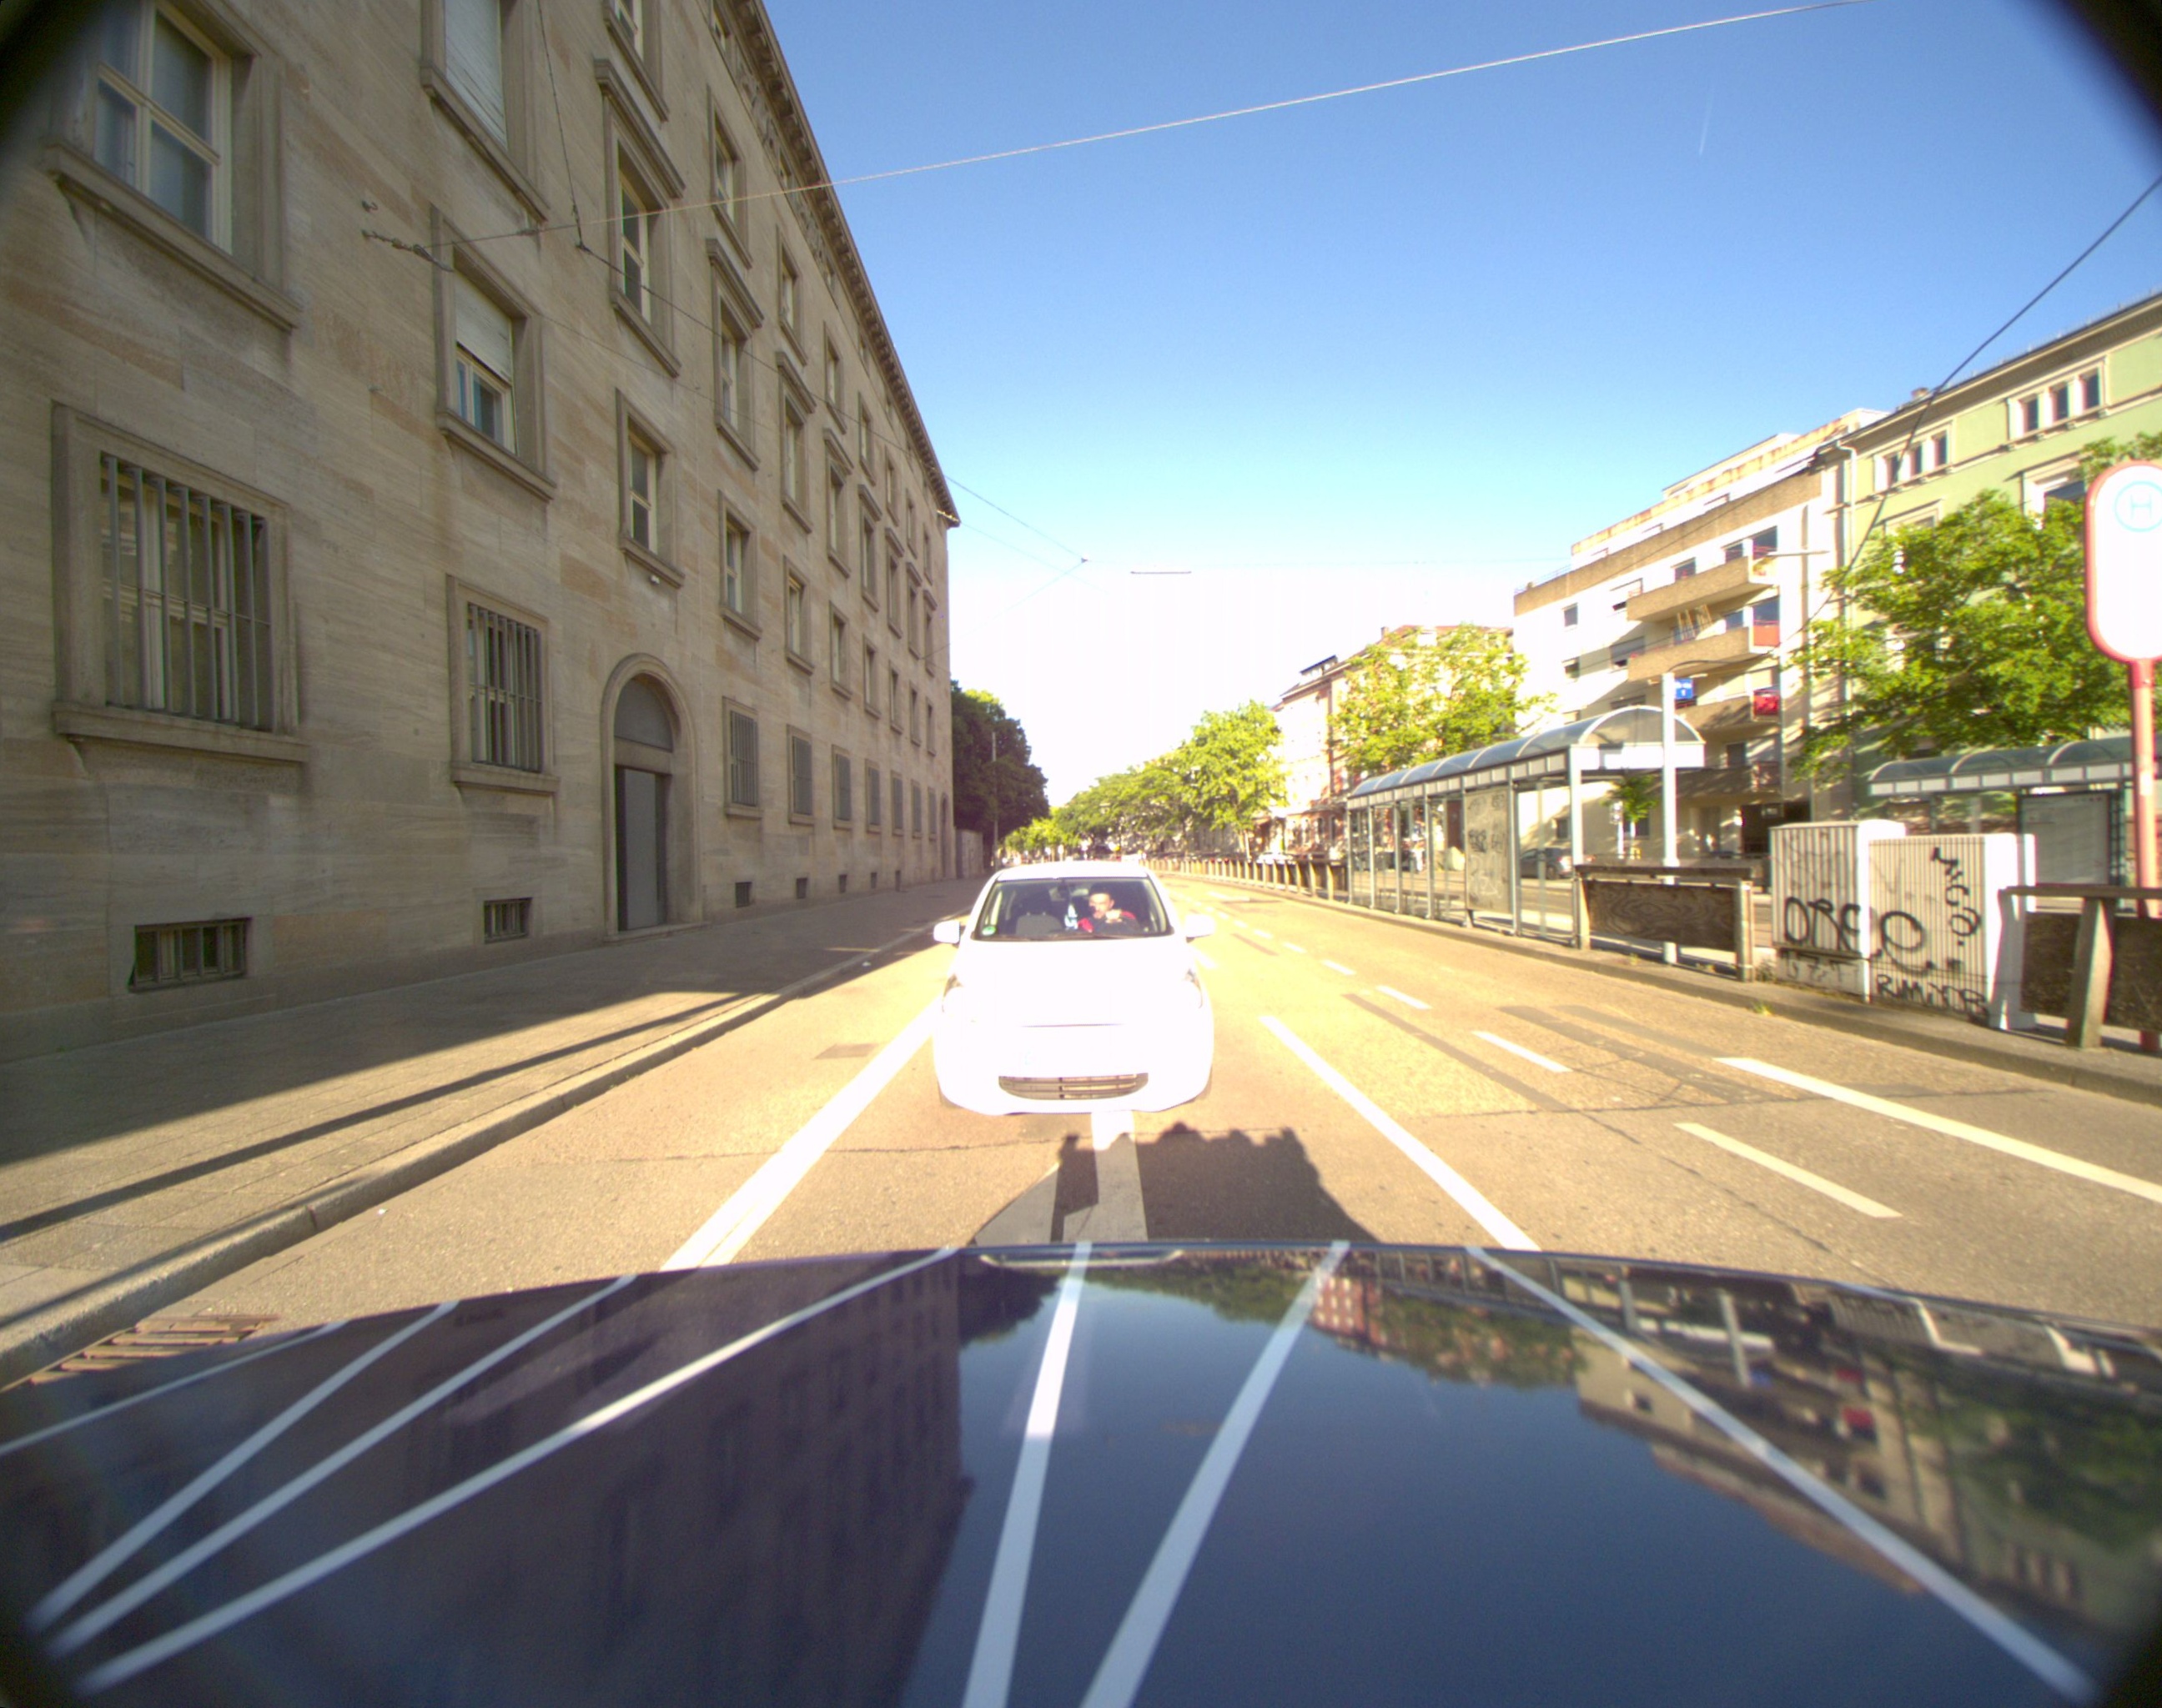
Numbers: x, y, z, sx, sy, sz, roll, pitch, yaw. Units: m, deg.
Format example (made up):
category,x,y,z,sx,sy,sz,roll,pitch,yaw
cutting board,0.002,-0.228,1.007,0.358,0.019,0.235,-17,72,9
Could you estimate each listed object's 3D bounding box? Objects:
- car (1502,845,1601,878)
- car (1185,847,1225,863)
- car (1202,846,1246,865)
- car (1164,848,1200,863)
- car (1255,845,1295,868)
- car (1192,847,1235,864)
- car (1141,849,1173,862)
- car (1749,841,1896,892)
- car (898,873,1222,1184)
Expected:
category,x,y,z,sx,sy,sz,roll,pitch,yaw
car,20.842,0.327,33.828,1.615,1.387,3.516,-1,0,-19
car,13.151,0.099,80.523,3.996,1.674,2.000,-1,0,4
car,13.631,0.142,72.586,3.996,1.674,2.000,-1,0,4
car,11.429,0.159,86.082,3.864,1.583,2.001,-1,0,5
car,16.299,0.176,63.670,1.994,1.713,4.007,0,2,34
car,13.344,0.127,76.719,3.996,1.674,2.000,-1,0,4
car,9.556,0.145,95.708,3.864,1.583,2.001,-1,0,4
car,23.931,0.379,24.544,3.796,1.526,1.772,-1,0,-17
car,-0.081,0.931,5.670,1.612,1.450,3.667,-1,0,1
